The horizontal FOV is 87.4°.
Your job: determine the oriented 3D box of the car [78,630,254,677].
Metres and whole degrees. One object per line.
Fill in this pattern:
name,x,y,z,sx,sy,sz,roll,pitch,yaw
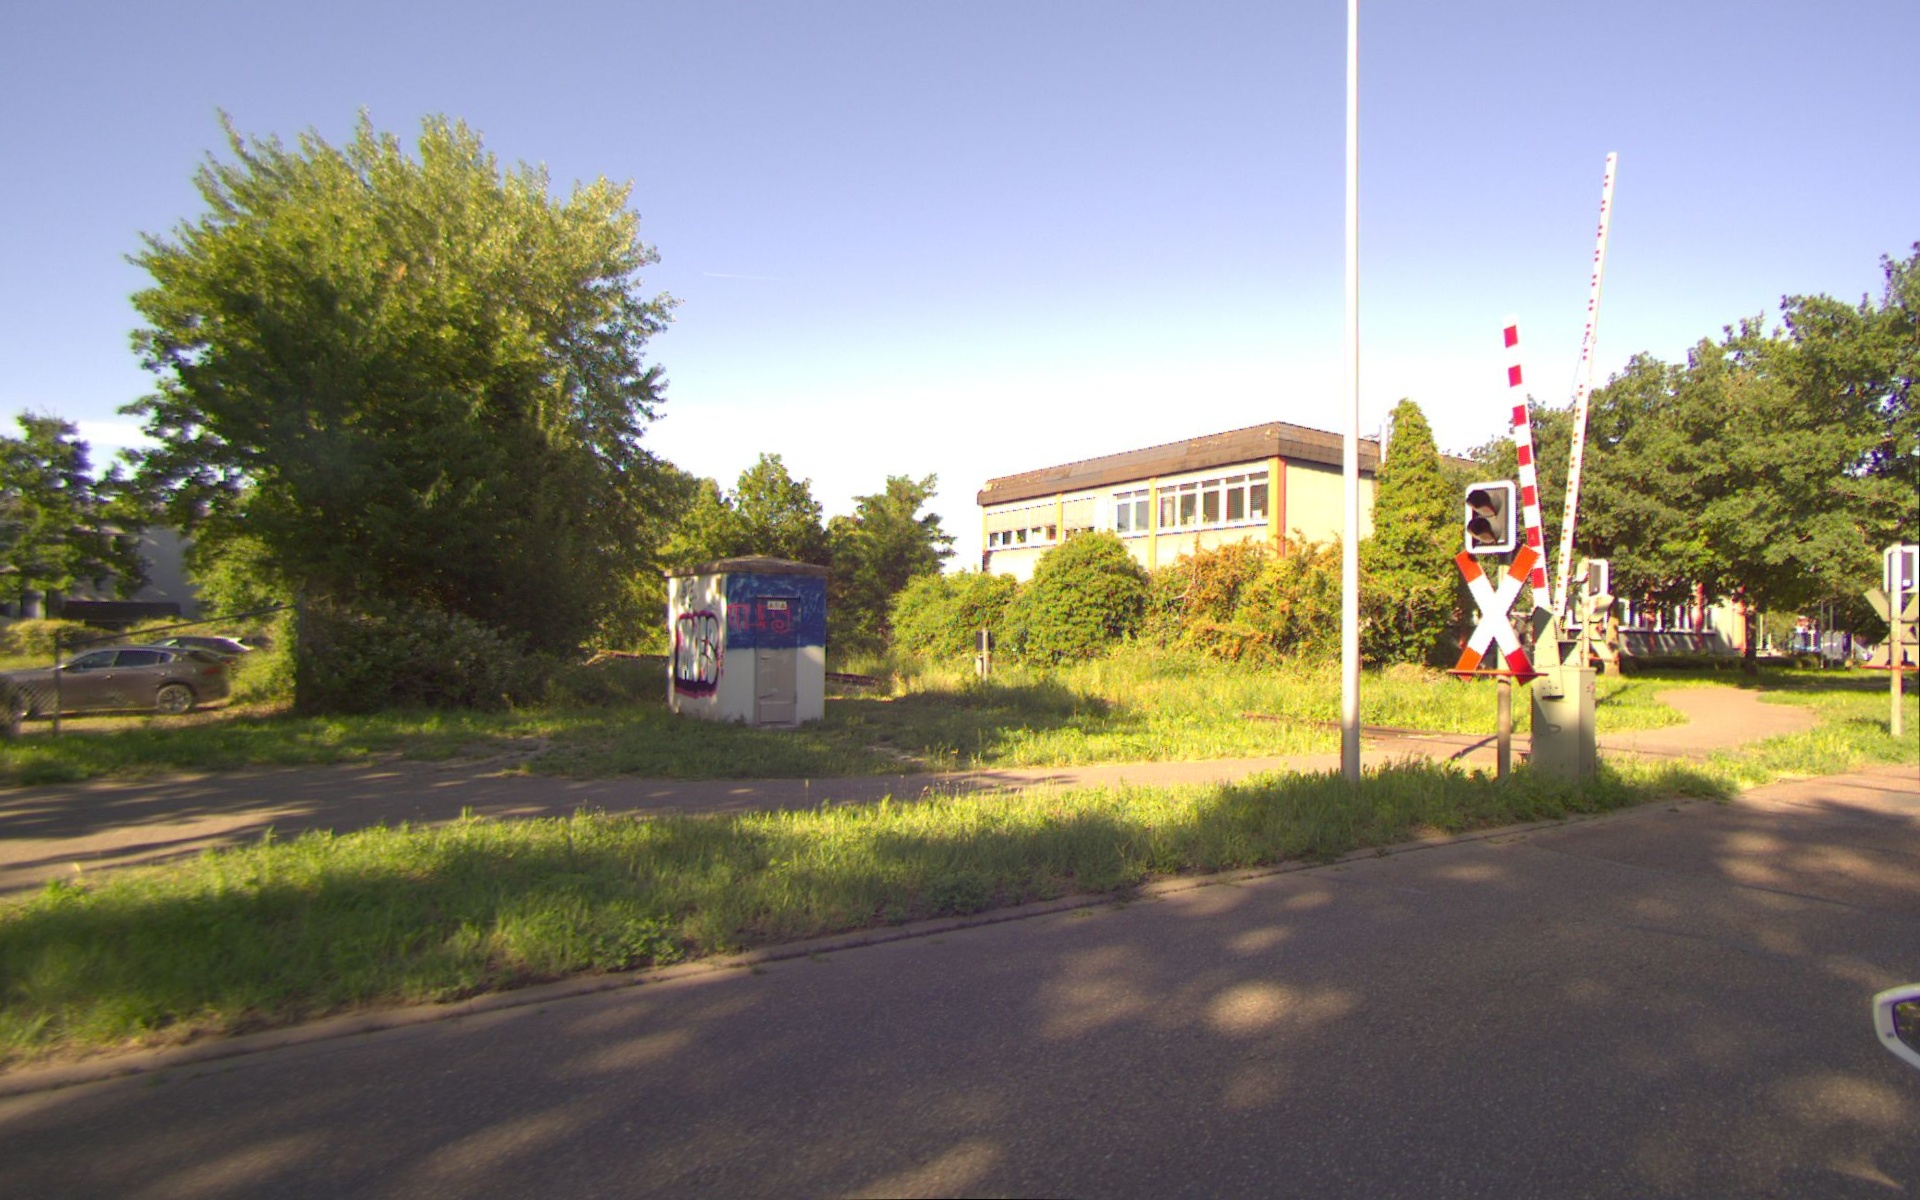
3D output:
car,-29.561,1.971,37.614,4.824,1.587,1.985,2,0,-28

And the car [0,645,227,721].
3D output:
car,-20.473,1.909,23.858,4.835,1.587,1.981,2,0,-34

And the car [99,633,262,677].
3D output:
car,-30.965,2.174,40.131,4.824,1.587,1.985,2,0,-28

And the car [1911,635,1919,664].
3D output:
car,71.663,3.651,71.348,1.984,2.040,5.740,2,0,-41

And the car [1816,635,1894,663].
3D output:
car,59.189,3.230,66.486,1.973,1.664,3.348,2,0,-26
